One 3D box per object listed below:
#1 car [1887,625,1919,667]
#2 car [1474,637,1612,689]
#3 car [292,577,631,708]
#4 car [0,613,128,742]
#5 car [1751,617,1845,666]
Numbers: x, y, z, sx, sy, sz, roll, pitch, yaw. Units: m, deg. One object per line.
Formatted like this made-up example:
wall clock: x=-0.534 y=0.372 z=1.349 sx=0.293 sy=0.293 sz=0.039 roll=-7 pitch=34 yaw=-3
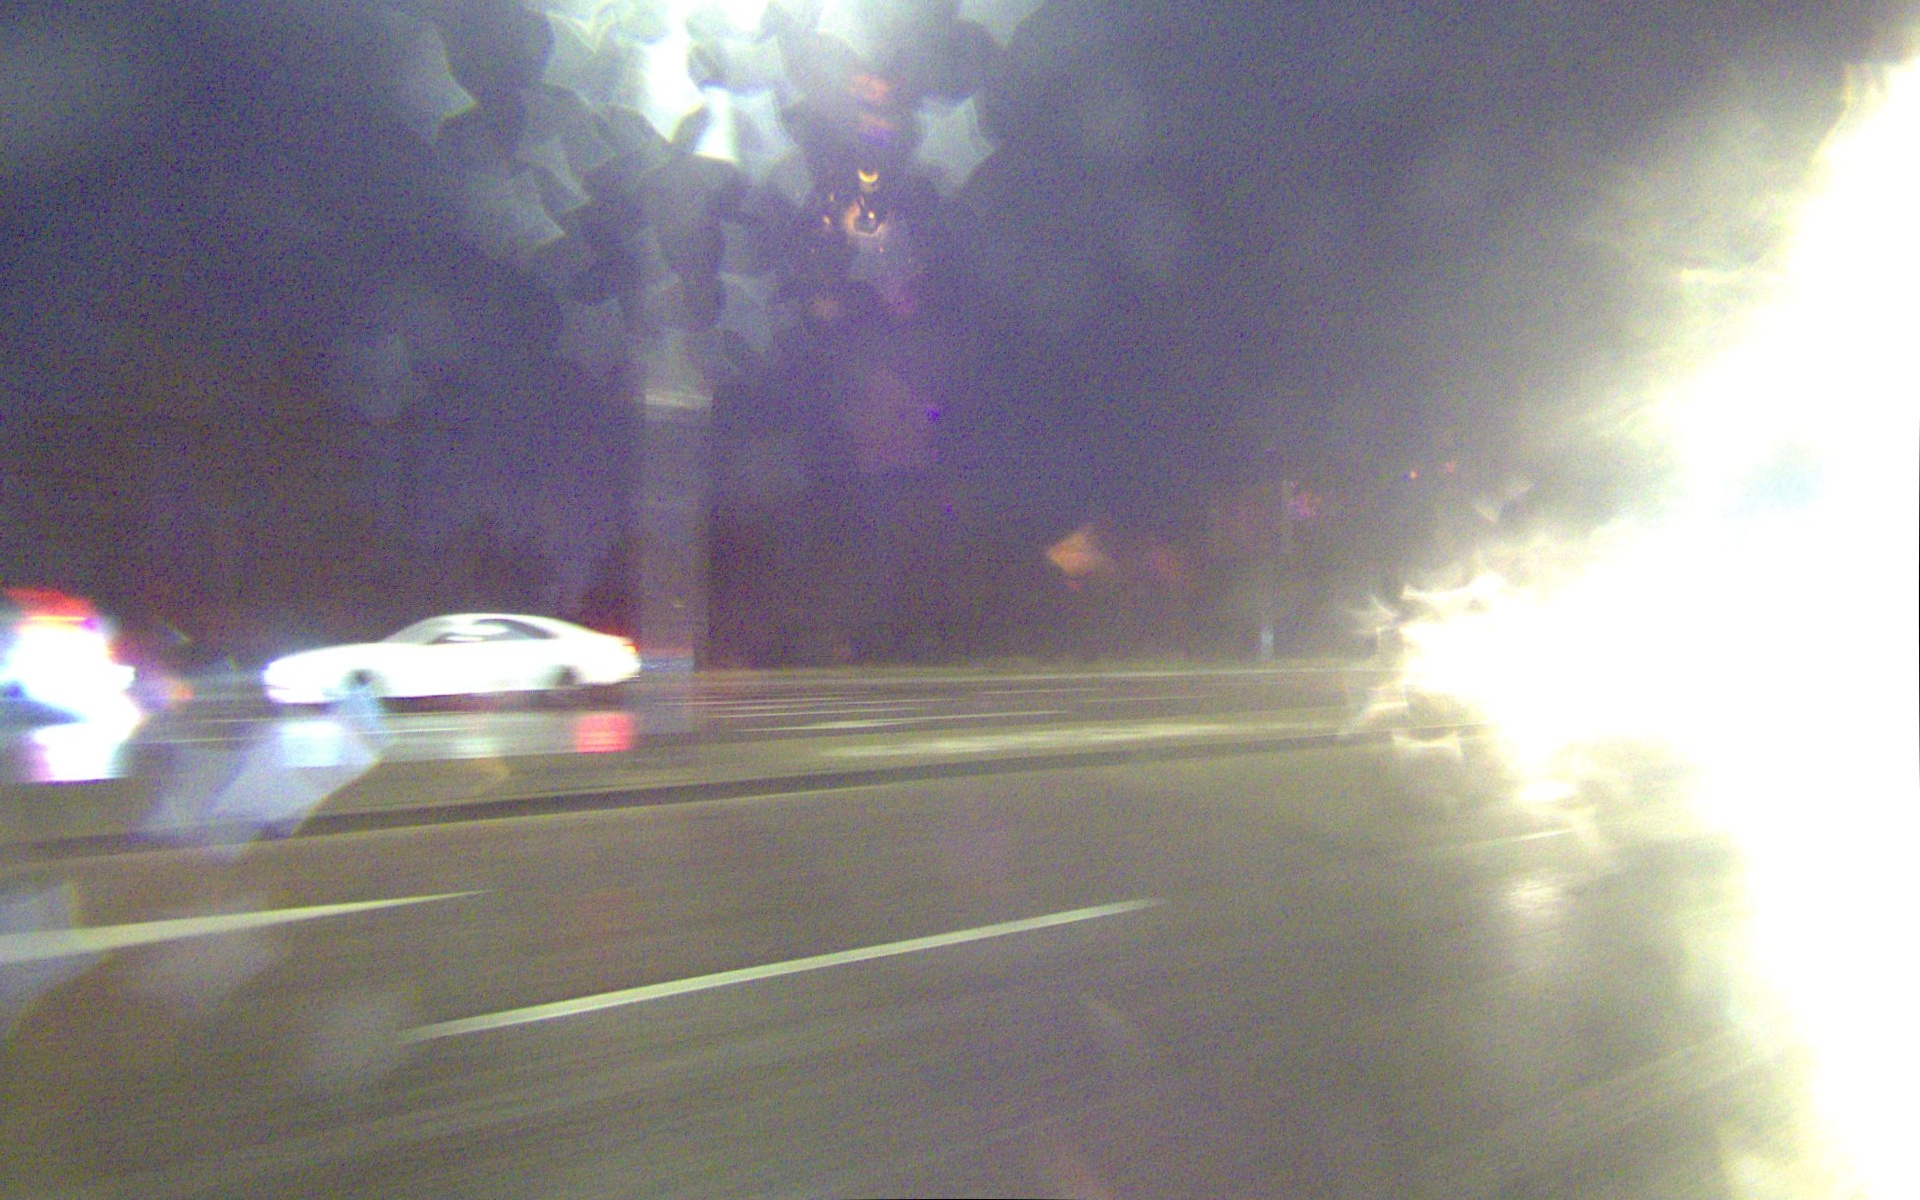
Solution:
car: x=38.954 y=1.827 z=39.977 sx=4.191 sy=1.629 sz=1.775 roll=1 pitch=-2 yaw=-28
car: x=15.268 y=1.597 z=26.278 sx=3.574 sy=1.219 sz=1.635 roll=1 pitch=-1 yaw=-32
car: x=-7.610 y=0.676 z=15.618 sx=4.380 sy=1.550 sz=1.874 roll=5 pitch=3 yaw=-30
car: x=-13.459 y=0.977 z=12.862 sx=4.097 sy=1.623 sz=1.486 roll=1 pitch=0 yaw=-30
car: x=35.001 y=1.694 z=41.936 sx=4.157 sy=1.917 sz=1.753 roll=1 pitch=-1 yaw=-31
